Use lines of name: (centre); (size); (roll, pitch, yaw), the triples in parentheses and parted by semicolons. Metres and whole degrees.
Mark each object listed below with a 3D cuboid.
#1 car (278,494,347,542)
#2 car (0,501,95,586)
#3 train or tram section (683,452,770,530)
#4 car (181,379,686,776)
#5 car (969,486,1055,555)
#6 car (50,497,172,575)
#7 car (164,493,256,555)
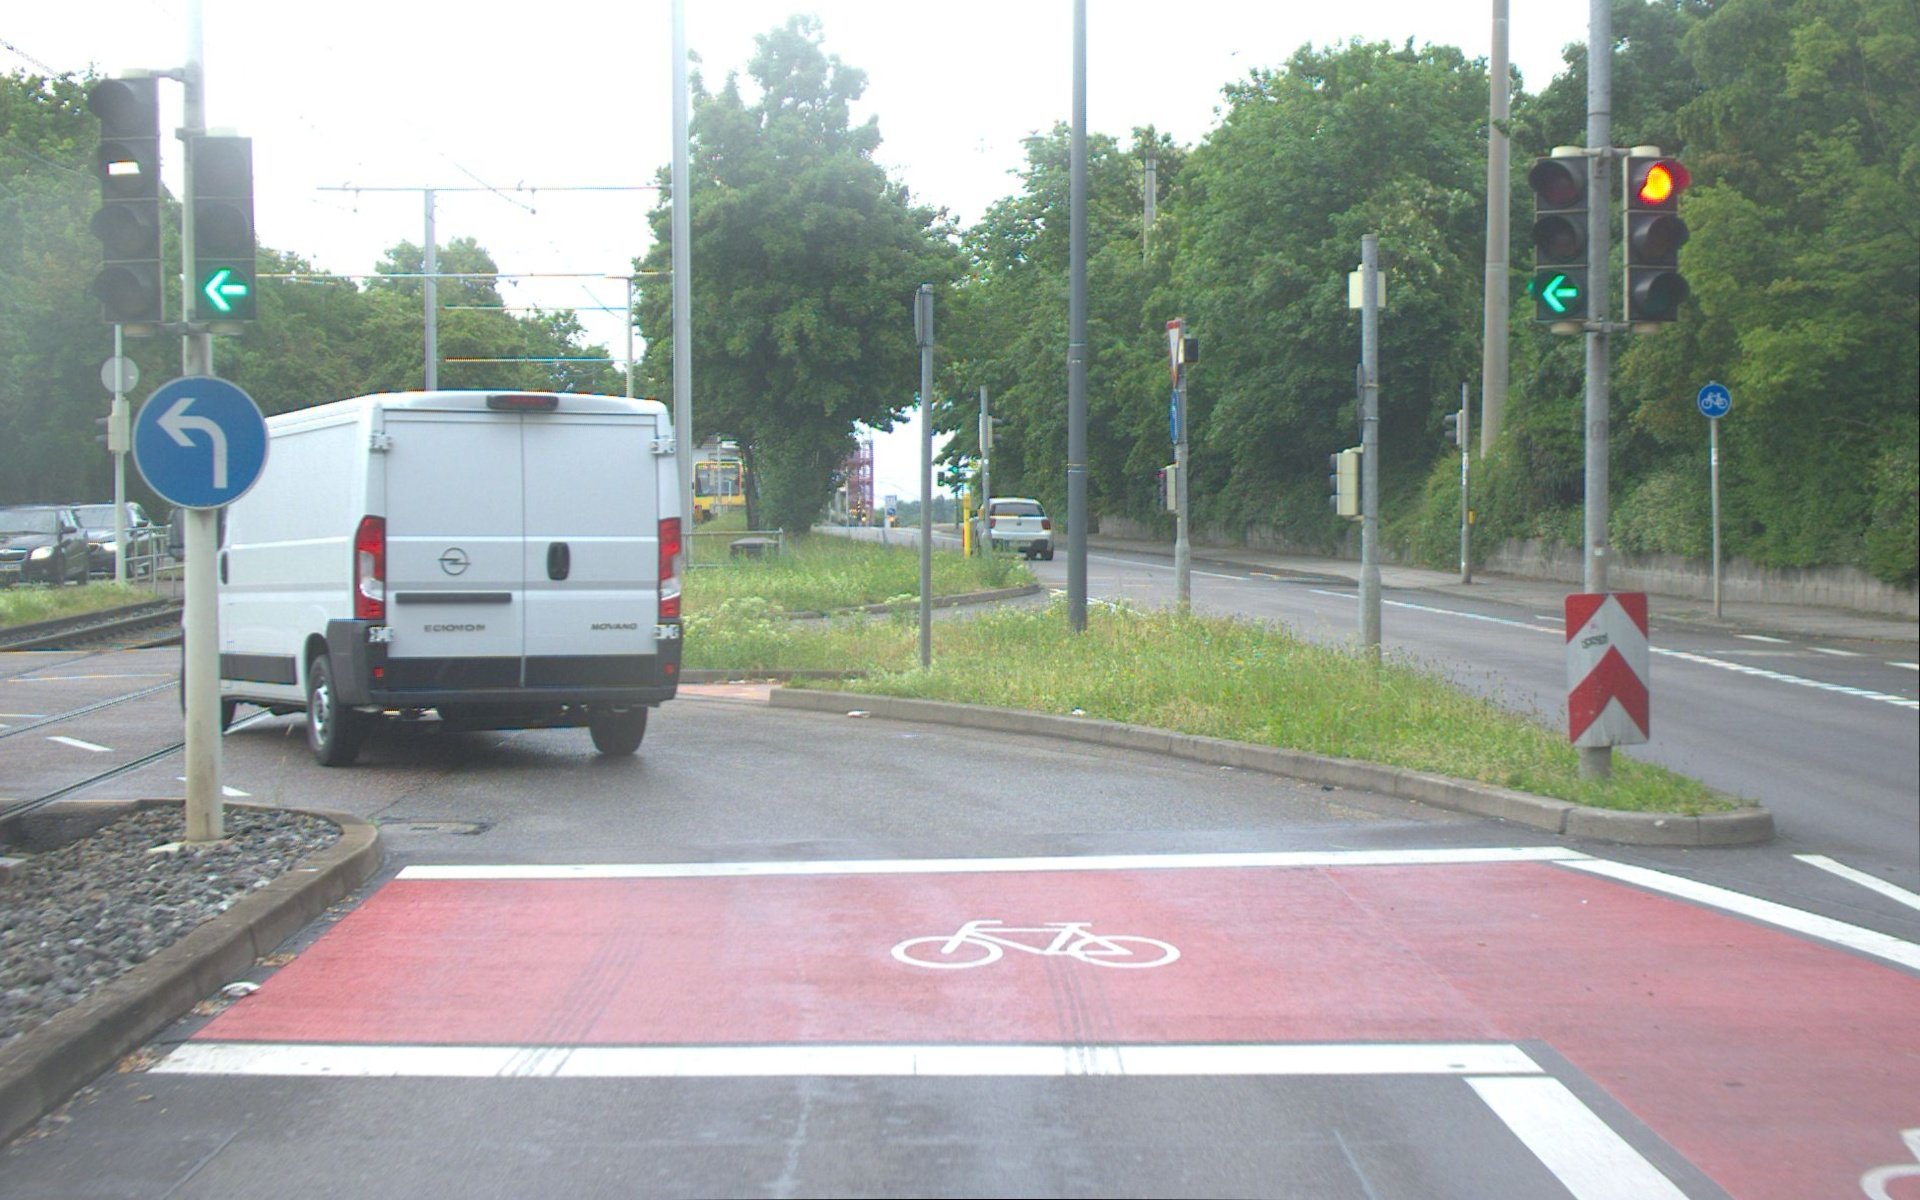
car: (-19.745, -2.520, 105.006); (1.601, 1.397, 3.792); (0, 2, -3)
car: (-16.508, -1.022, 60.922); (1.601, 1.397, 3.792); (1, 2, -3)
train or tram section: (-12.331, -5.858, 183.276); (4.060, 3.880, 15.042); (1, 2, -2)
car: (-3.577, -0.251, 22.442); (2.146, 2.275, 5.064); (-1, 3, -22)
car: (1.177, -1.868, 79.981); (1.703, 1.516, 3.792); (1, 2, -3)
car: (-16.306, -1.247, 66.169); (1.601, 1.397, 3.792); (1, 2, -3)
car: (-18.197, -1.866, 83.540); (1.601, 1.397, 3.792); (1, 2, -3)
